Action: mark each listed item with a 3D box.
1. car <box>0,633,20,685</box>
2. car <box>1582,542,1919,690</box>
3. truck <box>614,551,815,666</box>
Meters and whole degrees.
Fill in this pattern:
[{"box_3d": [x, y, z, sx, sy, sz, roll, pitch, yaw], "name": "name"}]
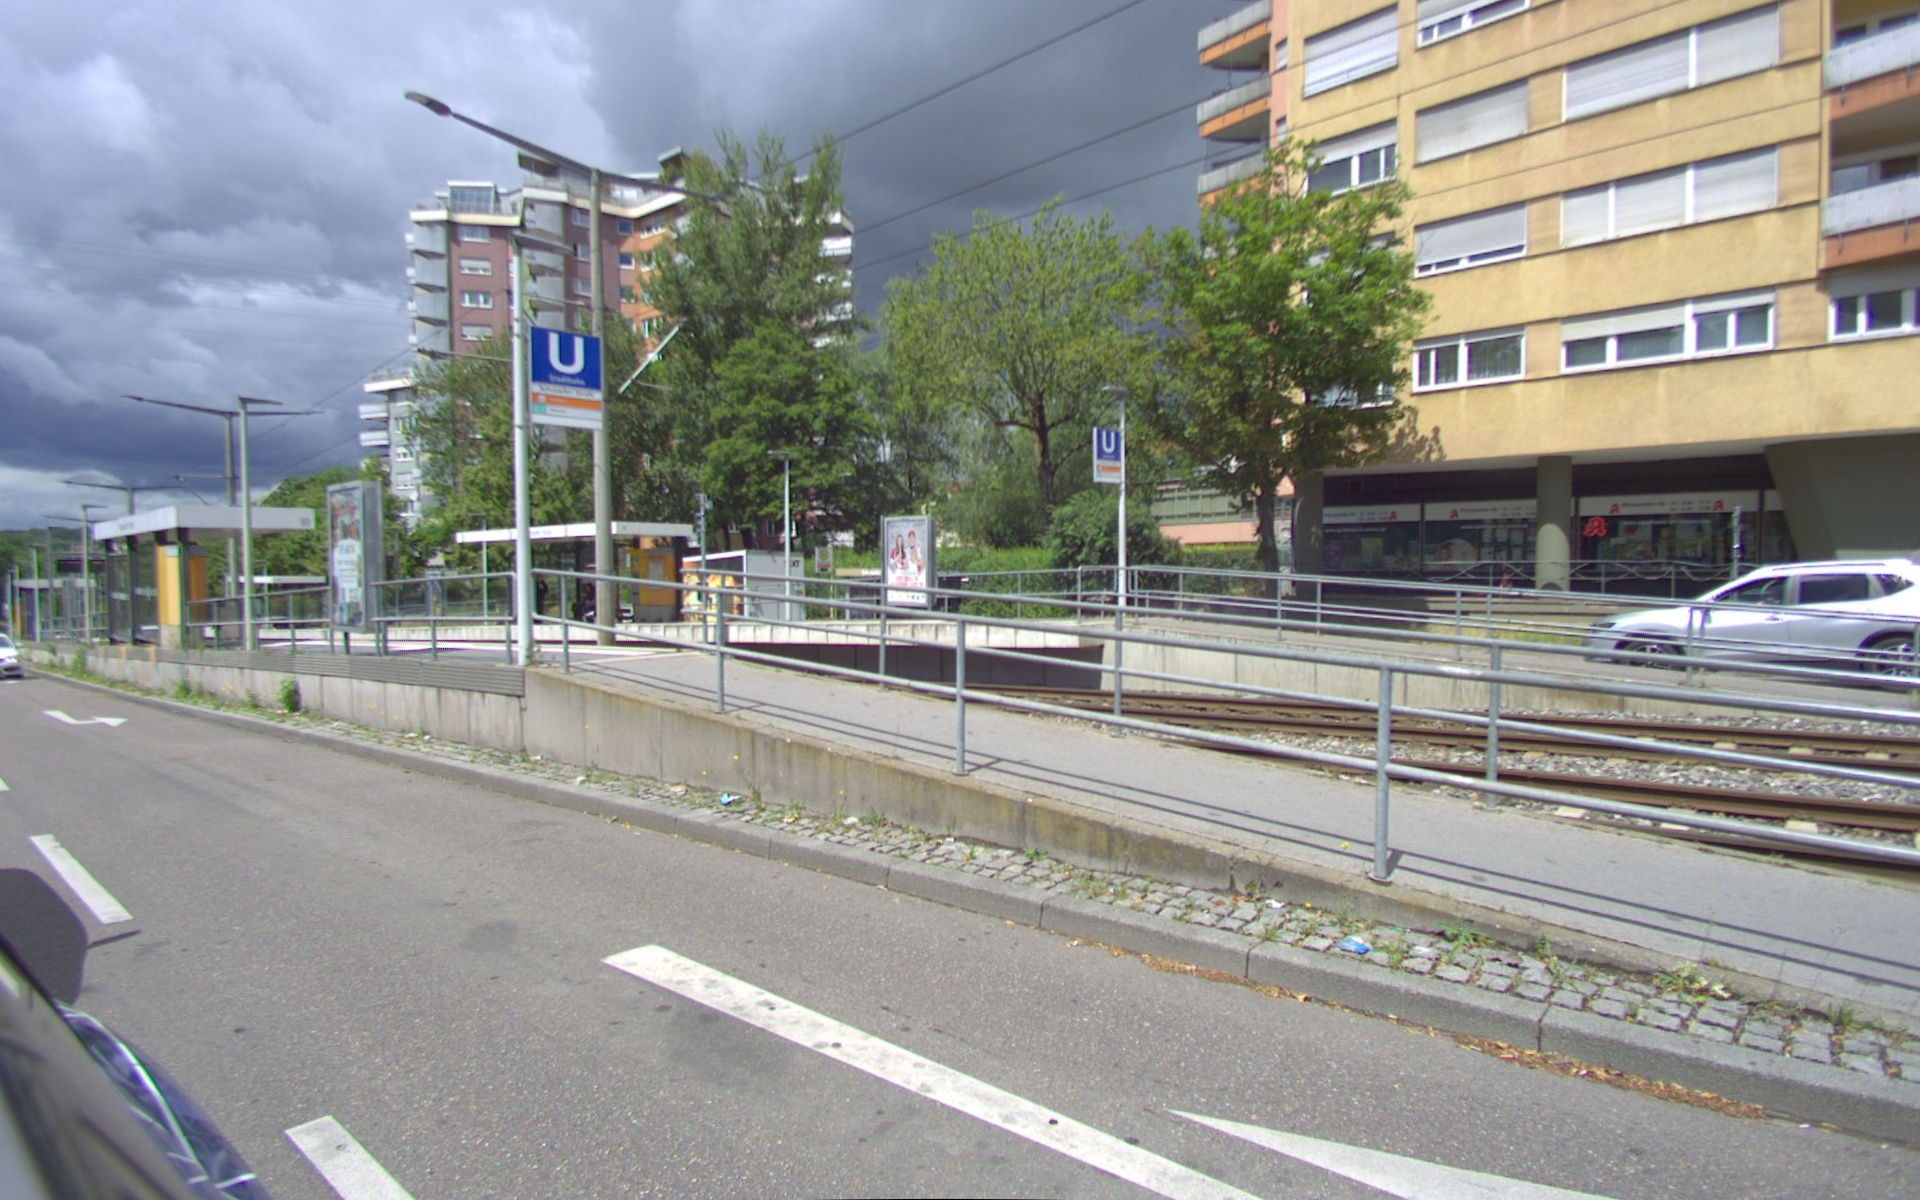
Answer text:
[{"box_3d": [-29.693, 1.771, 30.434, 3.998, 1.472, 1.710, -1, 0, 42], "name": "car"}, {"box_3d": [11.427, 0.233, 14.051, 4.507, 1.815, 1.973, -1, -2, 41], "name": "car"}, {"box_3d": [-7.881, 0.338, 31.835, 7.260, 3.247, 2.389, -2, -1, 42], "name": "truck"}]
